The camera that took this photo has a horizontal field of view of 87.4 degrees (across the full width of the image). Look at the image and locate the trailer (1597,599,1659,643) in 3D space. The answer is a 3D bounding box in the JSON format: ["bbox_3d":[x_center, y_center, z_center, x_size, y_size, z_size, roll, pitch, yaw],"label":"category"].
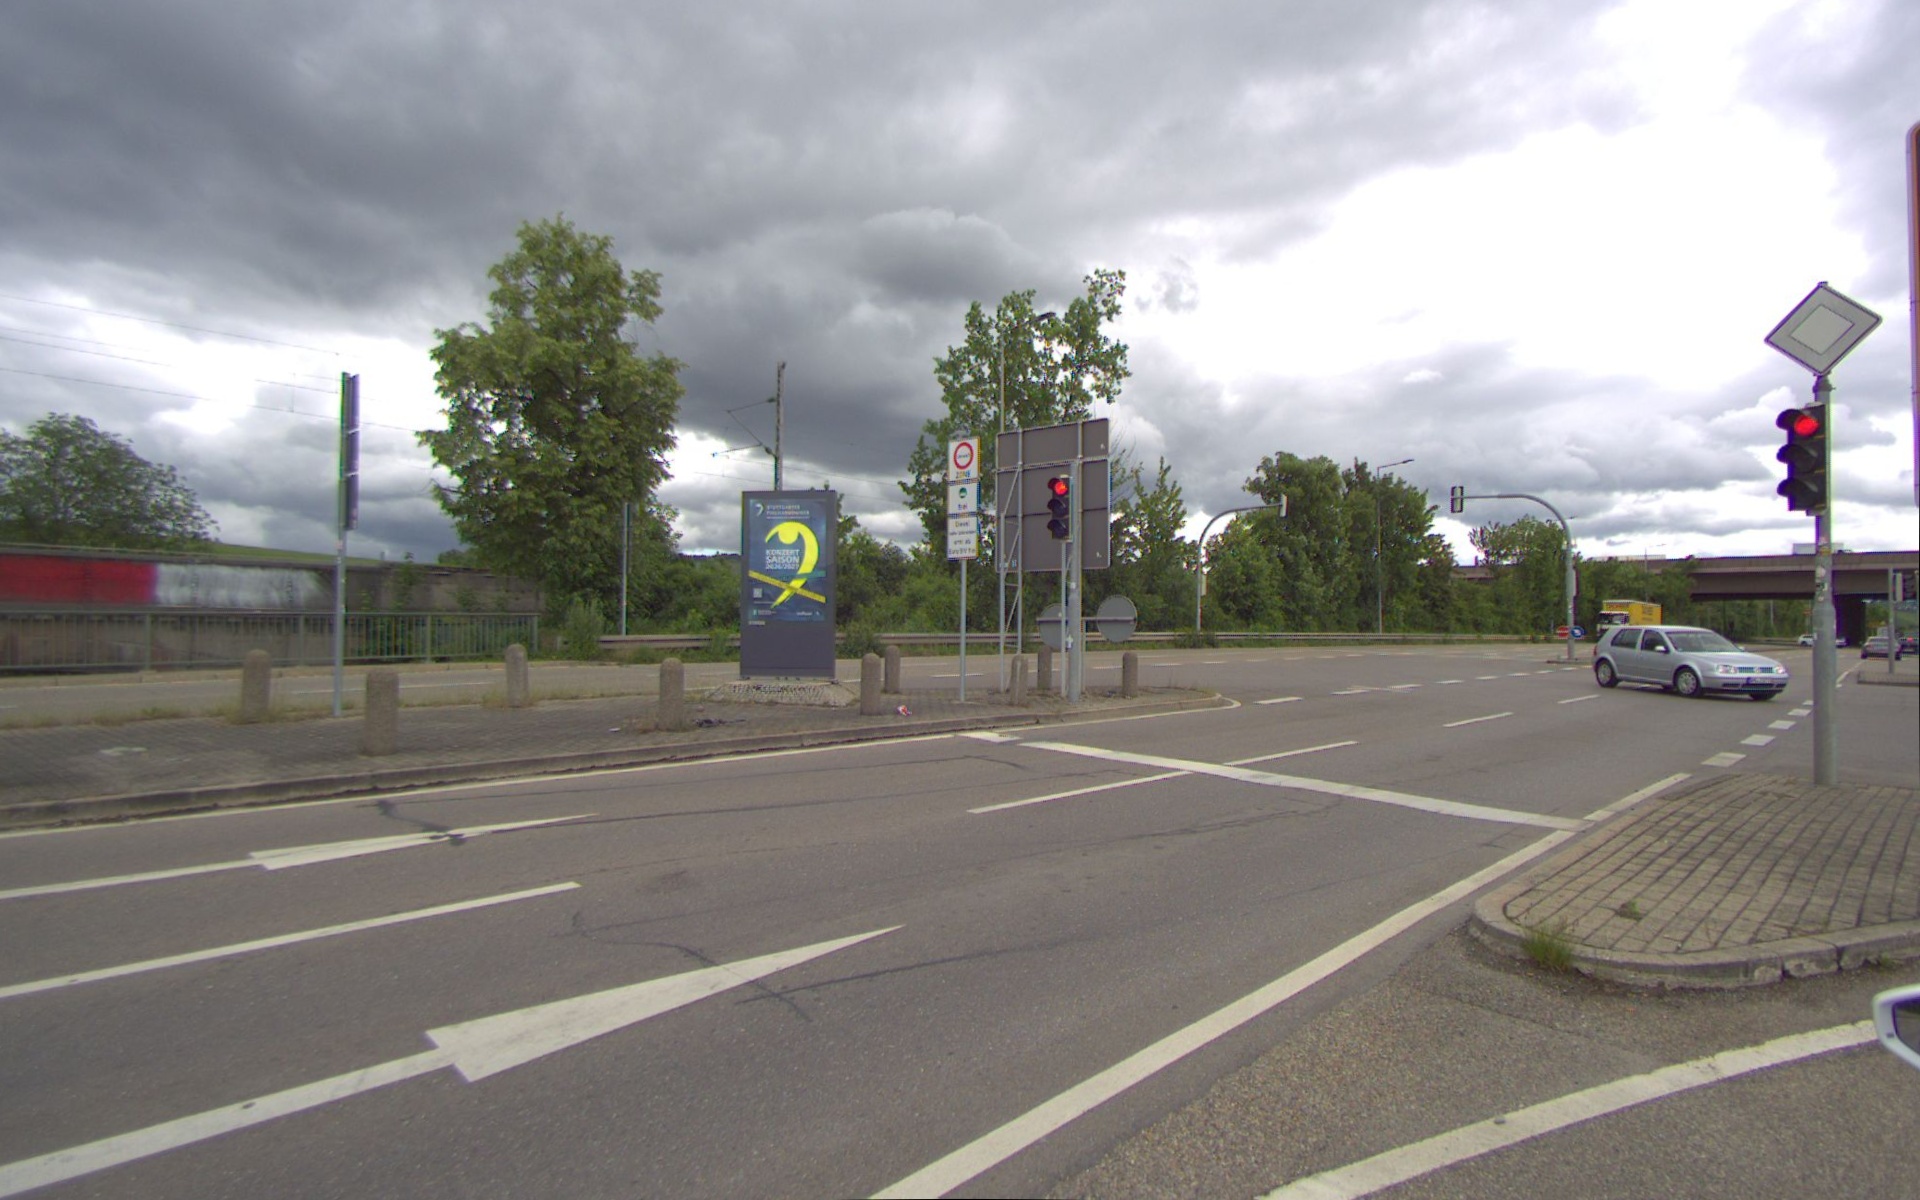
[{"bbox_3d":[67.702,2.055,101.607,11.350,4.139,2.843,1,1,-45],"label":"trailer"}]

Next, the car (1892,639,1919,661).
[{"bbox_3d":[73.267,3.878,77.380,4.084,1.483,1.973,4,-2,-45],"label":"car"}]

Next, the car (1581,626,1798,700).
[{"bbox_3d":[15.534,1.291,21.691,1.696,1.419,4.066,0,-1,-1],"label":"car"}]

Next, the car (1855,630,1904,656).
[{"bbox_3d":[57.213,2.692,62.474,4.083,1.461,1.974,4,-2,-43],"label":"car"}]

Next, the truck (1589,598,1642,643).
[{"bbox_3d":[63.865,1.963,97.805,6.444,4.139,2.843,1,1,-44],"label":"truck"}]

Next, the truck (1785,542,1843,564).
[{"bbox_3d":[104.021,-5.726,122.434,1.972,2.352,5.046,1,0,-24],"label":"truck"}]

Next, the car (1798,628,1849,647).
[{"bbox_3d":[99.611,4.338,115.904,1.971,1.885,3.978,1,2,-22],"label":"car"}]
